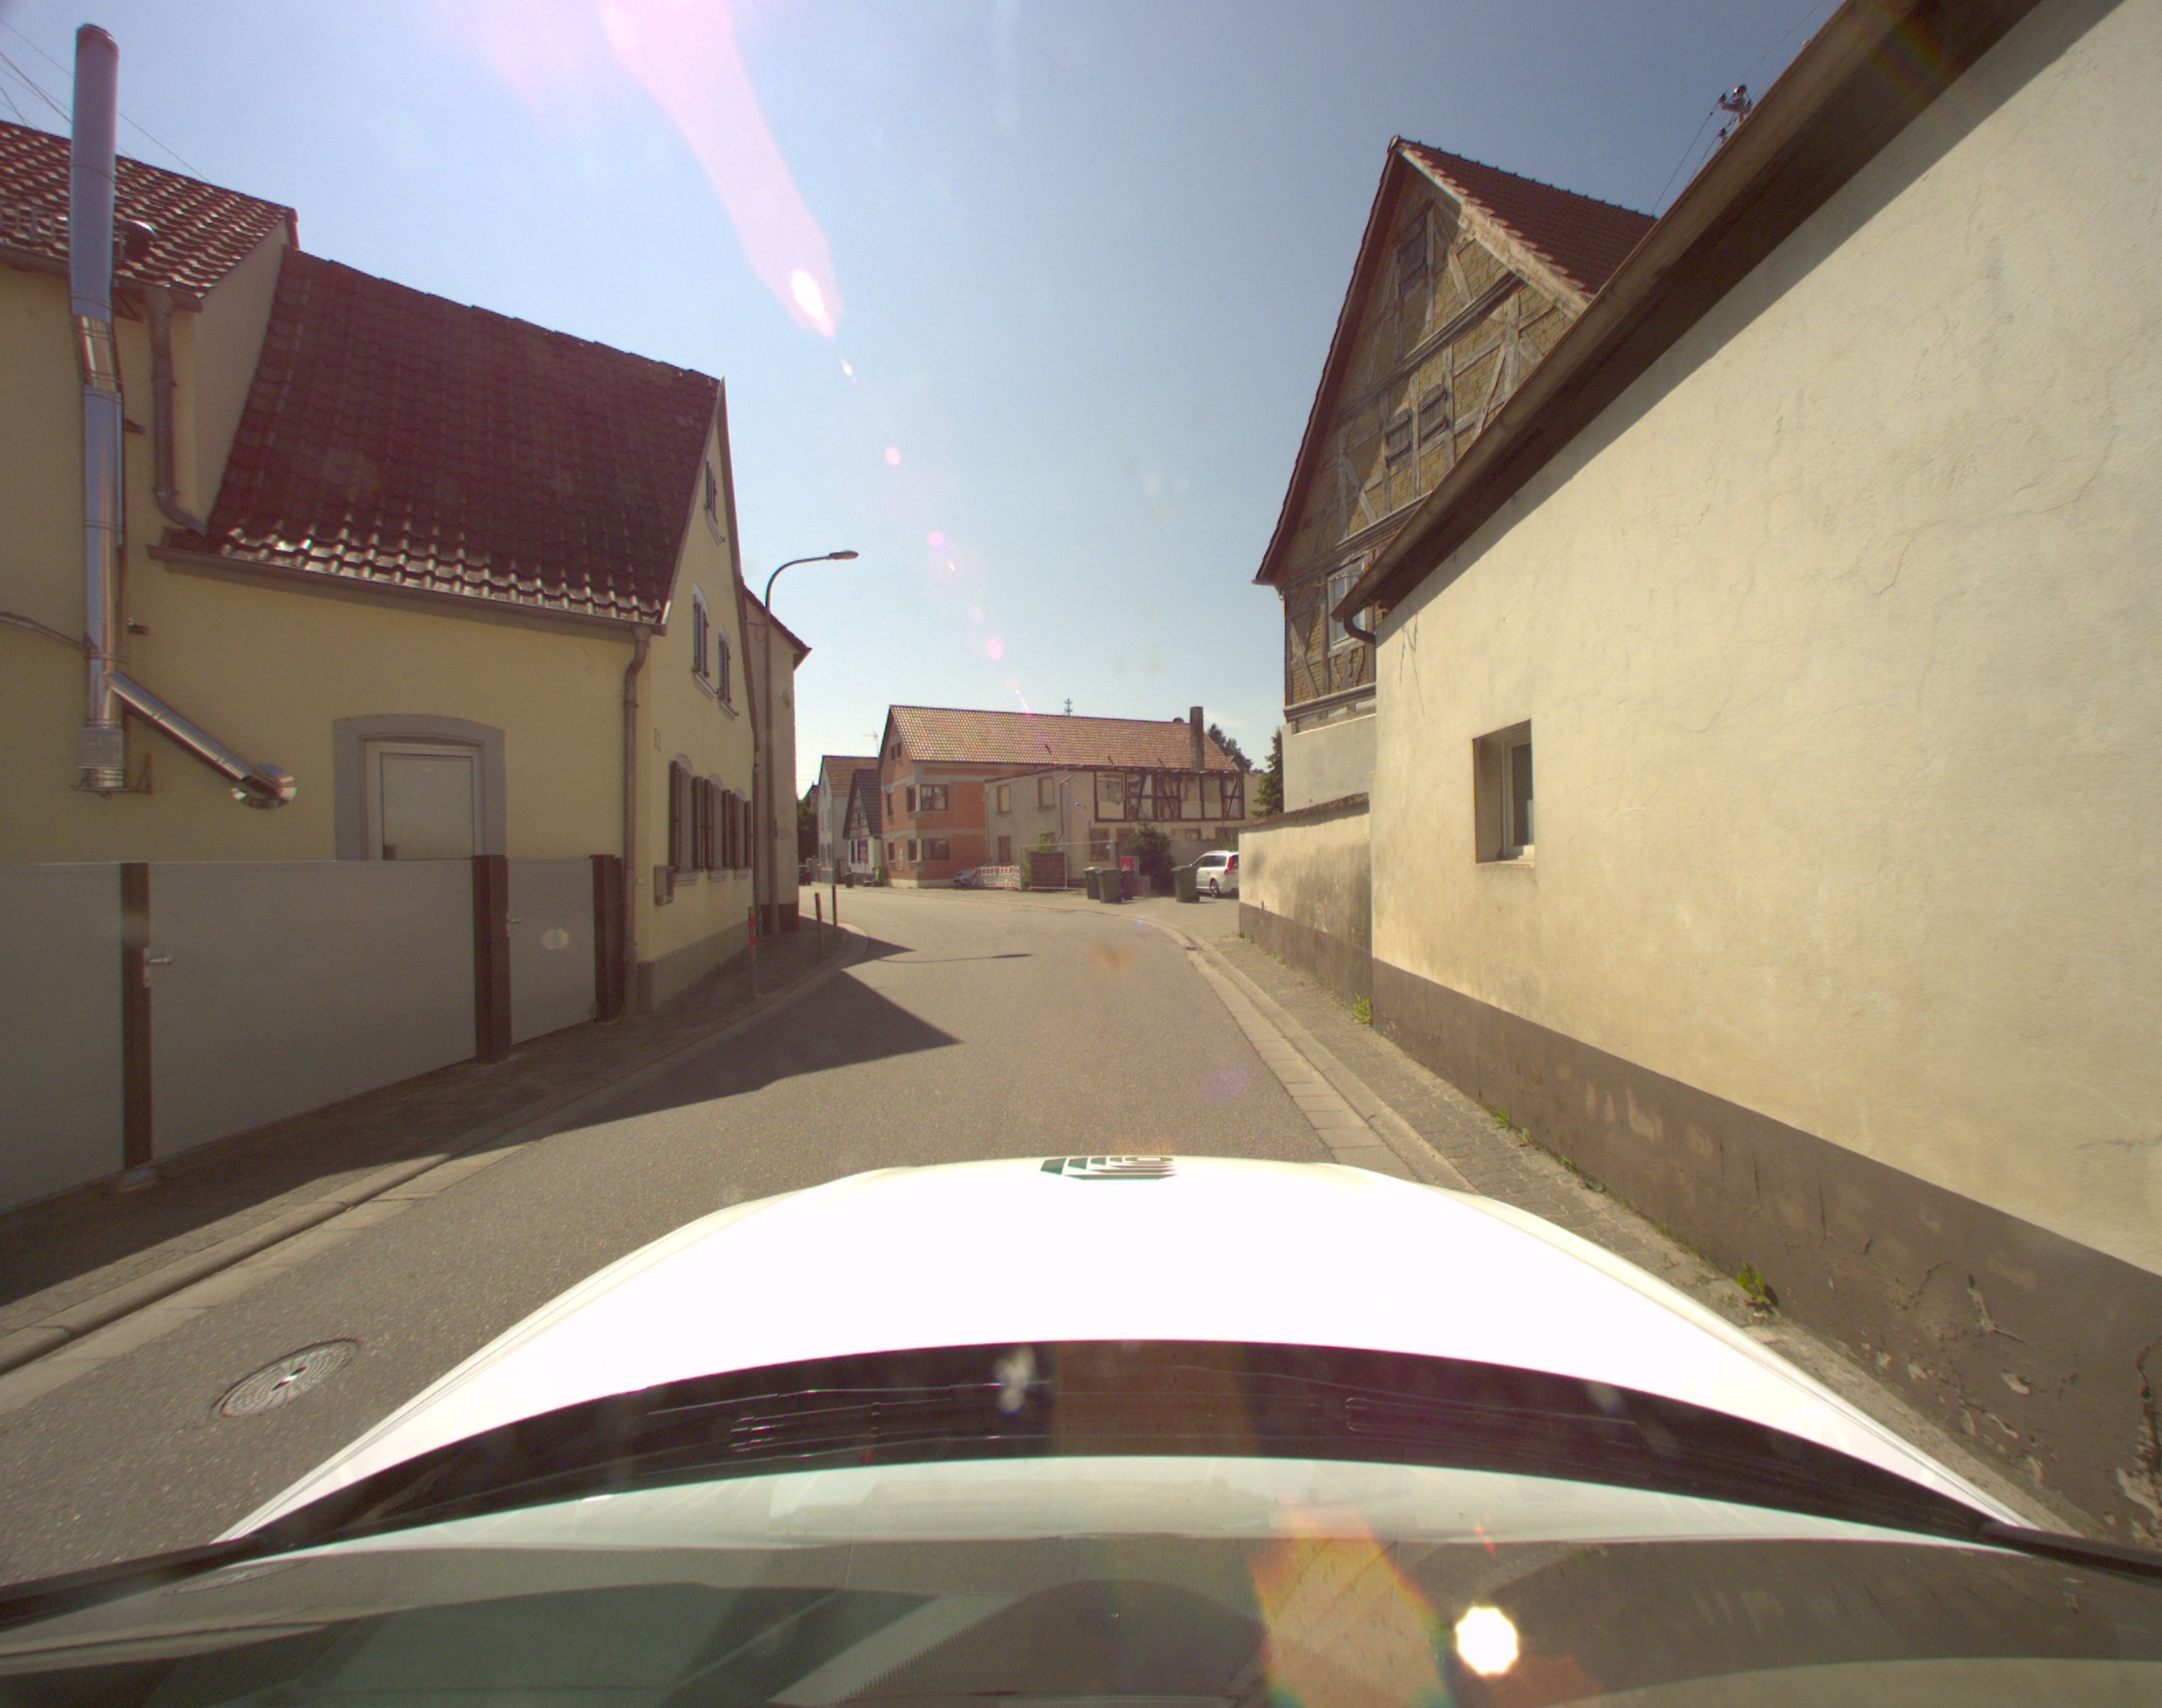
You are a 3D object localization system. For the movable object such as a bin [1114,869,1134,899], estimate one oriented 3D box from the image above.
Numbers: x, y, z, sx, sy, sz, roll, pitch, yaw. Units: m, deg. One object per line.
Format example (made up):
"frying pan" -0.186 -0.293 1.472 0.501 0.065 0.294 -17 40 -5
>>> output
"movable object such as a bin" 1.420 0.975 26.969 0.466 0.970 0.492 -1 0 -22

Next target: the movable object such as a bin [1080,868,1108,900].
"movable object such as a bin" 0.441 1.025 27.893 0.664 1.072 0.766 -2 0 29

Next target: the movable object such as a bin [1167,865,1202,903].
"movable object such as a bin" 3.114 0.897 24.509 0.723 1.081 0.749 -1 0 -24

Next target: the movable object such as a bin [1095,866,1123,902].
"movable object such as a bin" 0.879 0.949 25.635 0.689 1.092 0.633 -1 0 -21

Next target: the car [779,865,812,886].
"car" -22.827 1.701 64.990 1.808 1.560 4.589 -1 0 -28

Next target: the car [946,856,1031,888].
"car" -4.982 0.957 43.969 4.118 1.507 1.850 -2 0 -34

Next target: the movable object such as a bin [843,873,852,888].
"movable object such as a bin" -14.989 1.680 52.287 0.538 0.913 0.549 -2 -1 -12

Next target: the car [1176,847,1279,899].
"car" 4.773 0.590 27.245 1.813 1.528 4.277 -2 0 -13
